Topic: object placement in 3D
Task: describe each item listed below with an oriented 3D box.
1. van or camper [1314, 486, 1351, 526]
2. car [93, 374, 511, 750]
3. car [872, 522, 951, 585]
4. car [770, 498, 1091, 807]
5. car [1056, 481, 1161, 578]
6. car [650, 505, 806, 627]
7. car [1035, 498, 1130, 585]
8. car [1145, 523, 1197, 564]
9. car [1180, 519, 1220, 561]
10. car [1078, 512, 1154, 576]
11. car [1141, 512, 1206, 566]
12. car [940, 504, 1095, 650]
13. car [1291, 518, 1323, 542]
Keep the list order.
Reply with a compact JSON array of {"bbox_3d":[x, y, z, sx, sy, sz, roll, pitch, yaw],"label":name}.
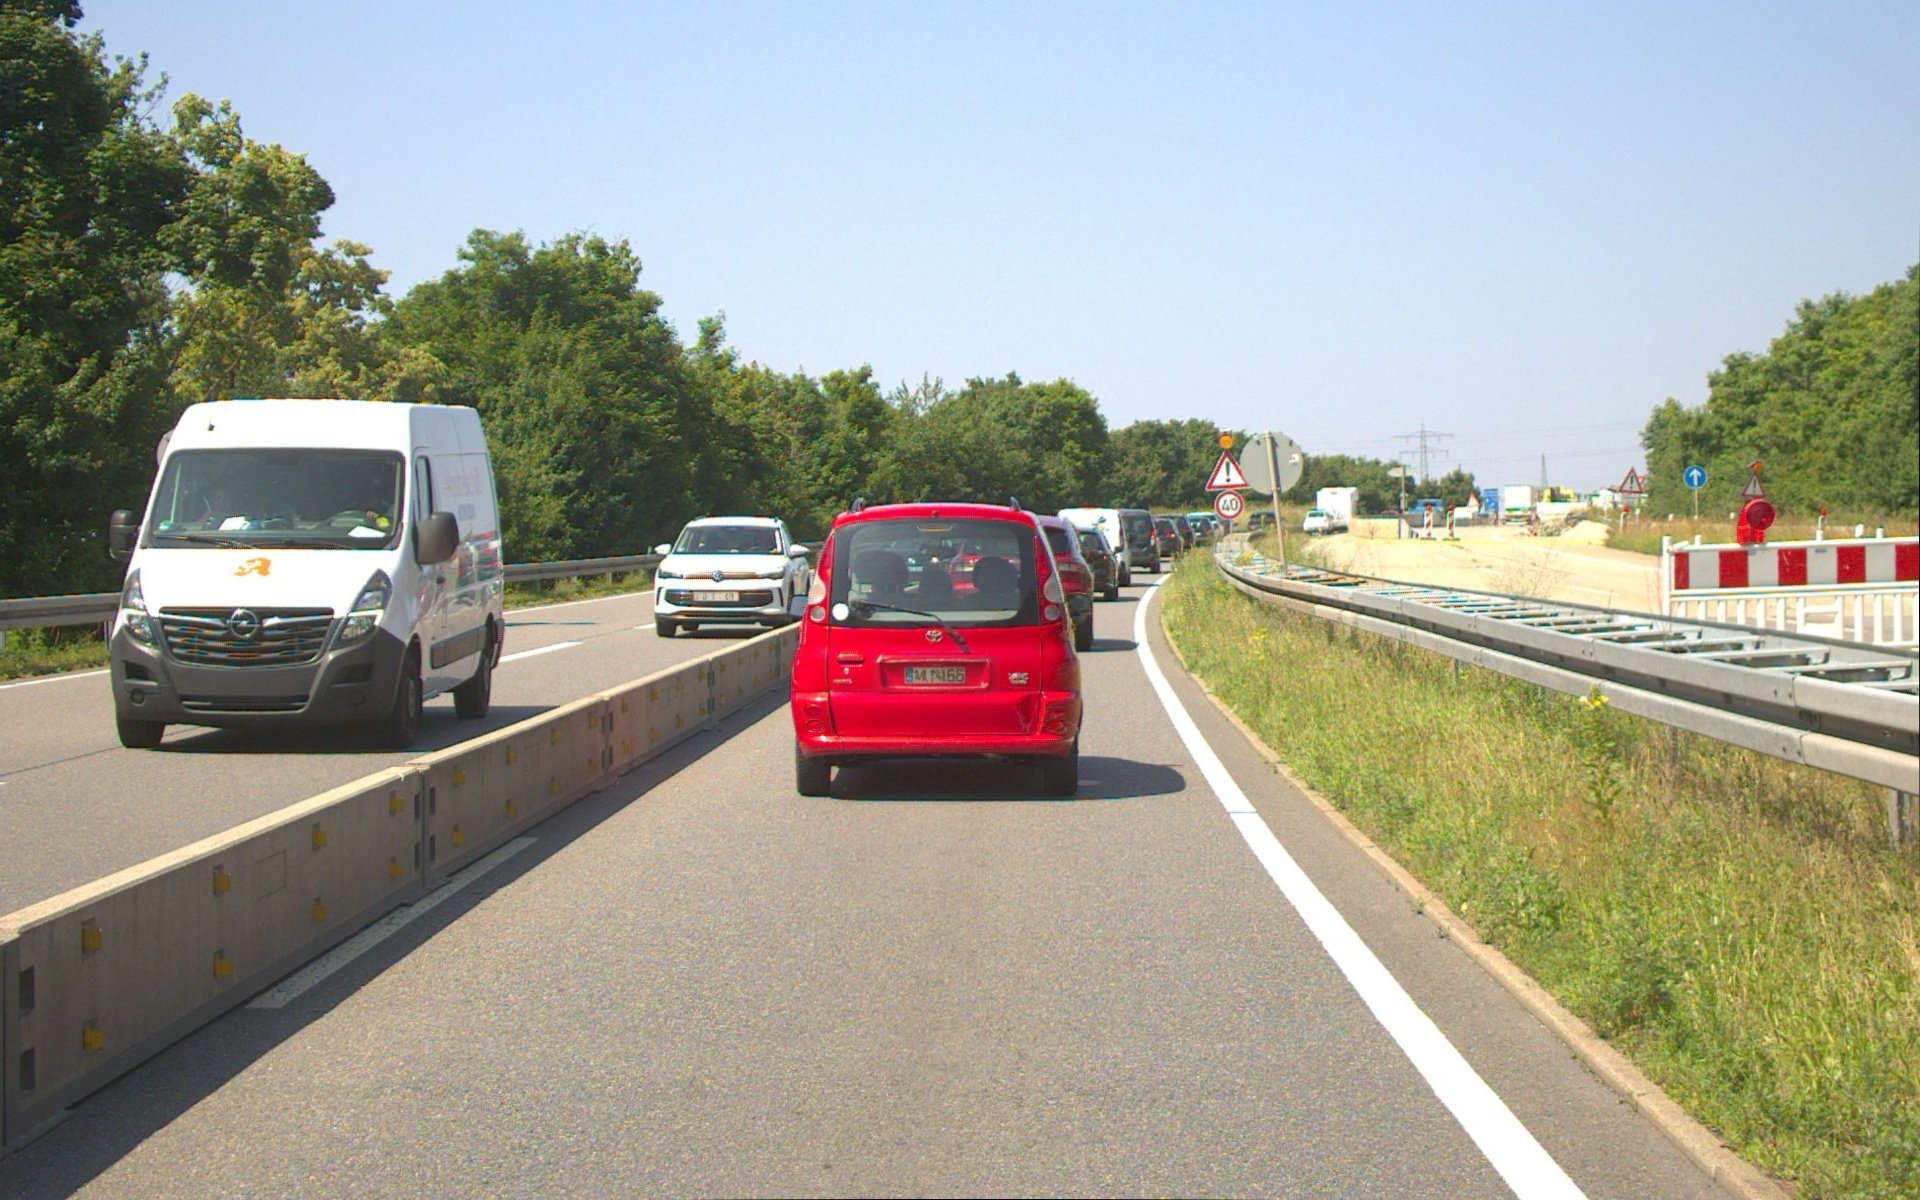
[{"bbox_3d":[25.286,-6.370,233.531,2.328,2.697,4.593,-1,1,4],"label":"van or camper"},{"bbox_3d":[-4.717,-0.305,25.520,2.061,2.477,5.561,0,1,0],"label":"car"},{"bbox_3d":[-1.160,-1.116,82.343,1.815,1.419,4.109,1,1,-1],"label":"car"},{"bbox_3d":[-0.116,0.232,20.939,1.752,1.667,4.000,1,2,1],"label":"car"},{"bbox_3d":[2.897,-1.388,67.884,1.993,1.831,4.000,-1,1,2],"label":"car"},{"bbox_3d":[-3.169,-0.491,47.647,1.848,1.595,4.322,0,1,0],"label":"car"},{"bbox_3d":[2.880,-1.396,81.450,1.993,1.997,4.000,-1,1,-1],"label":"car"},{"bbox_3d":[8.134,-2.189,132.510,1.994,1.579,4.000,0,1,4],"label":"car"},{"bbox_3d":[10.016,-2.508,143.207,1.502,1.730,3.169,1,1,6],"label":"car"},{"bbox_3d":[4.402,-1.592,97.493,1.993,1.744,4.000,-1,1,1],"label":"car"},{"bbox_3d":[7.250,-2.087,116.944,1.993,1.777,4.000,-1,1,1],"label":"car"},{"bbox_3d":[0.736,-0.316,43.305,1.830,1.716,4.000,1,1,1],"label":"car"},{"bbox_3d":[22.344,-4.489,221.275,1.994,1.481,3.999,-1,1,5],"label":"car"}]
